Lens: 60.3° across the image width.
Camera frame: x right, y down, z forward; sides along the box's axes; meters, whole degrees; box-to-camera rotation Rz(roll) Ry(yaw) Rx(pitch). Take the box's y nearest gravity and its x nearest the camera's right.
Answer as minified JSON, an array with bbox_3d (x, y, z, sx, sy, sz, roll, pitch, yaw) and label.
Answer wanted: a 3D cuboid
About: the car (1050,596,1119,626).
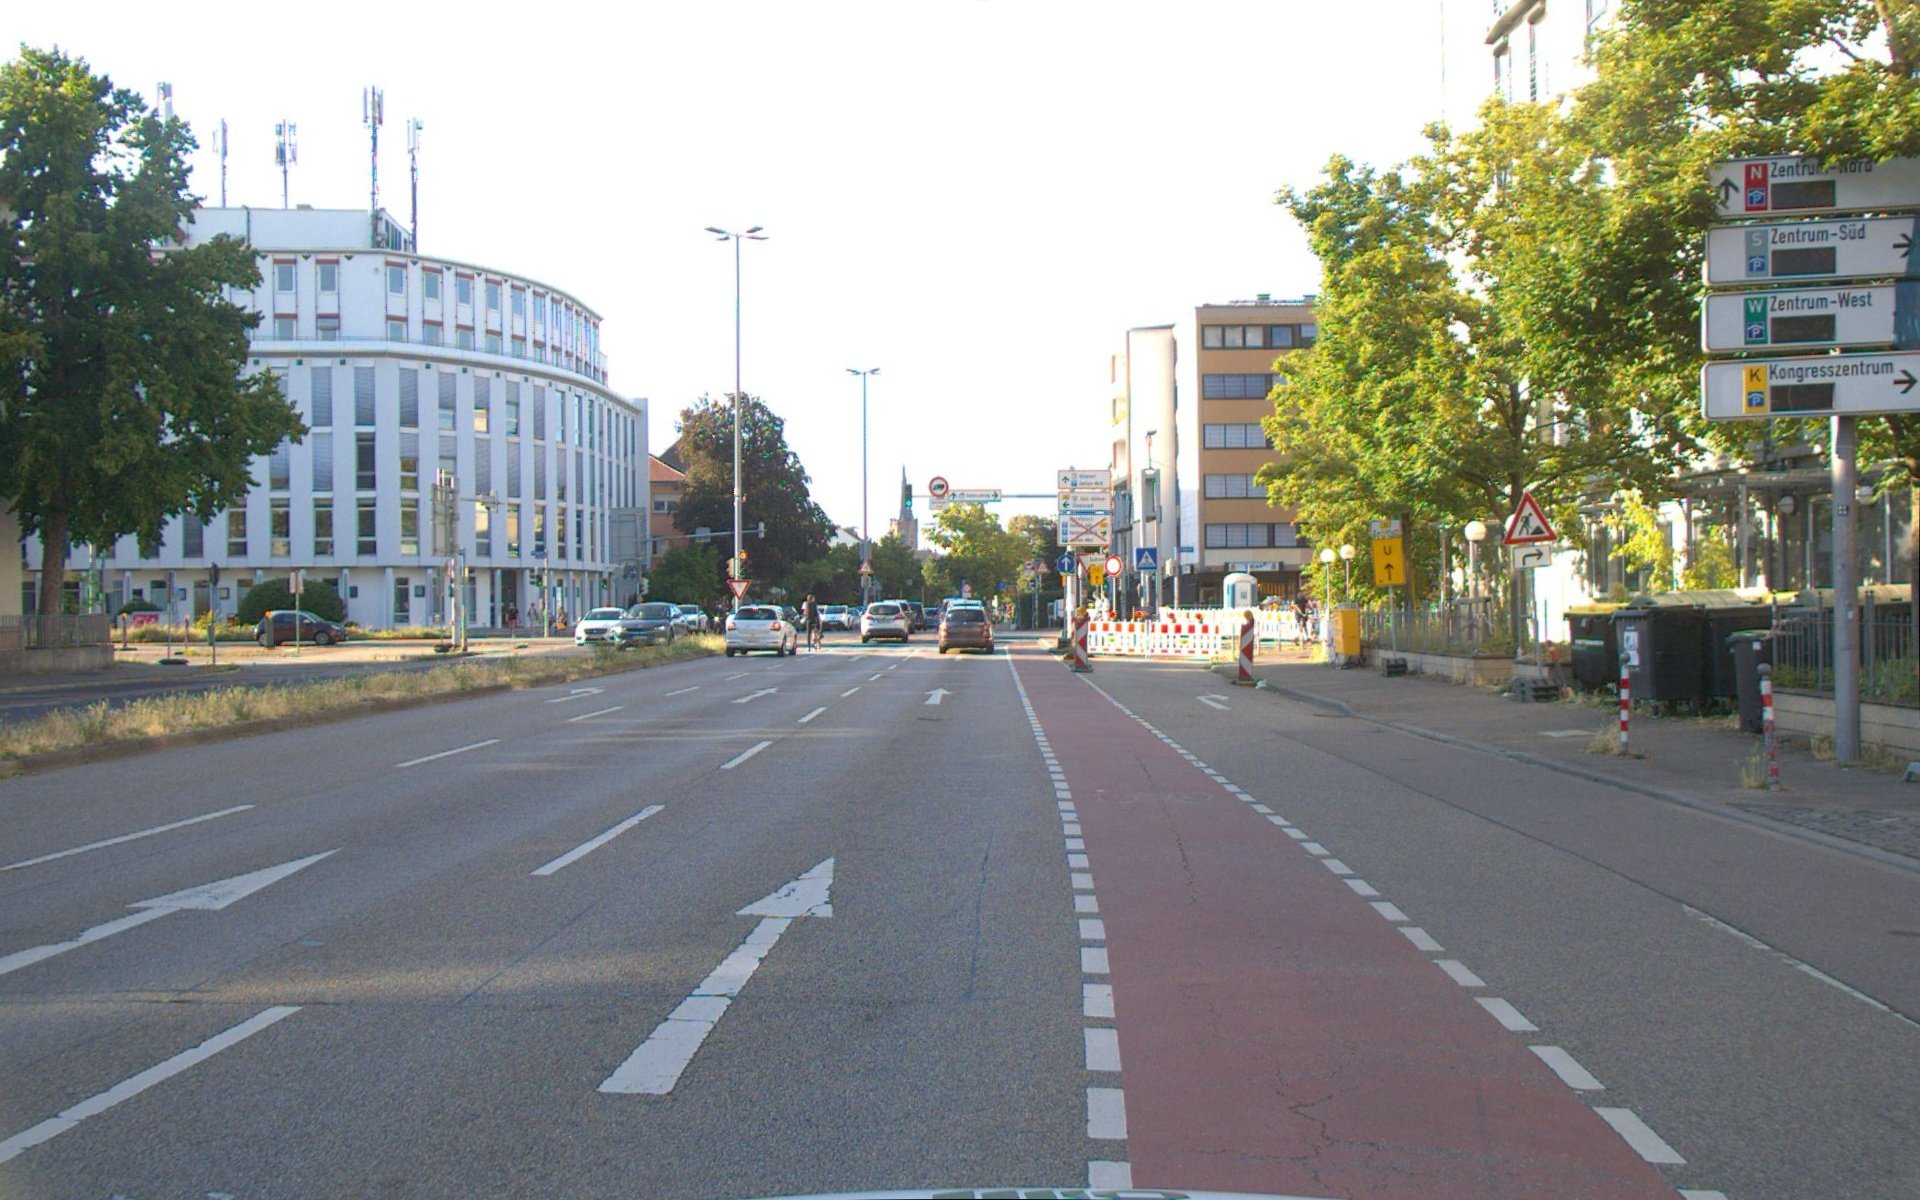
[{"bbox_3d":[8.087,0.714,107.384,4.275,1.910,2.000,-1,0,-1],"label":"car"}]

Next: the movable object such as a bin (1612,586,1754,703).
[{"bbox_3d":[9.749,0.587,22.347,1.302,1.511,1.208,-1,0,-9],"label":"movable object such as a bin"}]

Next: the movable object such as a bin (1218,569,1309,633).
[{"bbox_3d":[11.962,0.032,65.262,3.260,2.425,1.529,-1,-1,0],"label":"movable object such as a bin"}]

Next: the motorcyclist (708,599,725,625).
[{"bbox_3d":[-13.695,0.697,93.007,0.754,1.444,1.238,-1,0,-1],"label":"motorcyclist"}]

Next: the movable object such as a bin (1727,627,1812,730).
[{"bbox_3d":[8.640,0.825,17.662,0.606,1.064,0.616,-1,0,3],"label":"movable object such as a bin"}]

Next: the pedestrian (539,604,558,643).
[{"bbox_3d":[-20.195,1.137,81.105,0.646,1.901,0.779,-1,-1,6],"label":"pedestrian"}]

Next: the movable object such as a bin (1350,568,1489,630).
[{"bbox_3d":[19.867,-0.045,71.645,5.242,2.534,2.547,-1,0,-2],"label":"movable object such as a bin"}]

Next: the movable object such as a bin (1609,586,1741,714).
[{"bbox_3d":[8.908,0.636,20.672,1.070,1.534,1.254,-1,-3,1],"label":"movable object such as a bin"}]

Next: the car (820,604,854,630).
[{"bbox_3d":[-7.372,1.008,99.469,1.810,1.487,4.048,-1,0,-2],"label":"car"}]

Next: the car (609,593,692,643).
[{"bbox_3d":[-10.692,0.610,57.478,1.953,1.606,4.899,-1,0,0],"label":"car"}]

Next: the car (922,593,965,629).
[{"bbox_3d":[-0.800,0.557,79.630,1.953,1.534,3.999,-2,-2,0],"label":"car"}]

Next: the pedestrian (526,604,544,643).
[{"bbox_3d":[-21.013,1.152,81.823,0.744,1.874,0.816,-1,-1,-9],"label":"pedestrian"}]

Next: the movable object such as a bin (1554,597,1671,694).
[{"bbox_3d":[9.535,0.648,24.193,1.193,1.367,1.051,-1,0,-15],"label":"movable object such as a bin"}]

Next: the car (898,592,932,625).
[{"bbox_3d":[-2.453,0.463,90.223,1.630,1.686,4.001,-1,0,1],"label":"car"}]

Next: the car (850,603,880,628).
[{"bbox_3d":[-6.000,0.974,105.023,1.810,1.487,4.048,-1,0,-2],"label":"car"}]

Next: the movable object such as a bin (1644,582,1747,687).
[{"bbox_3d":[10.908,0.499,24.569,1.080,1.511,0.956,-1,0,0],"label":"movable object such as a bin"}]

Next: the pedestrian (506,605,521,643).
[{"bbox_3d":[-22.044,1.176,81.642,0.648,1.891,0.776,-1,-1,-11],"label":"pedestrian"}]

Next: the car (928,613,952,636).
[{"bbox_3d":[-1.461,1.810,122.710,1.630,1.686,4.001,-1,0,1],"label":"car"}]

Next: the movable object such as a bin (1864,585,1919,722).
[{"bbox_3d":[10.733,0.548,17.743,1.575,1.435,0.865,-1,0,-1],"label":"movable object such as a bin"}]

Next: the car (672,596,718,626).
[{"bbox_3d":[-13.625,0.554,85.245,1.651,1.525,4.513,-1,0,-1],"label":"car"}]

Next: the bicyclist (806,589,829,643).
[{"bbox_3d":[-4.674,0.532,54.398,0.677,1.758,0.987,-1,-1,-2],"label":"bicyclist"}]

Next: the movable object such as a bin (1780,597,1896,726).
[{"bbox_3d":[9.362,0.646,17.664,0.761,1.331,0.865,-1,0,-1],"label":"movable object such as a bin"}]

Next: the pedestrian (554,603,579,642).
[{"bbox_3d":[-19.295,1.098,81.123,0.614,1.901,1.127,-1,-1,22],"label":"pedestrian"}]

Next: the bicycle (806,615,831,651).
[{"bbox_3d":[-4.657,1.073,54.504,0.685,1.119,2.257,-1,0,-2],"label":"bicycle"}]

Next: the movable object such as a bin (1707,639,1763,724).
[{"bbox_3d":[8.643,0.903,18.454,0.384,0.923,0.491,-1,0,3],"label":"movable object such as a bin"}]

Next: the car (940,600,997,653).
[{"bbox_3d":[0.308,0.800,52.604,1.712,1.591,4.050,-1,0,1],"label":"car"}]

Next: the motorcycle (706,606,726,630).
[{"bbox_3d":[-13.691,1.020,92.871,0.754,1.307,2.842,-1,0,-1],"label":"motorcycle"}]

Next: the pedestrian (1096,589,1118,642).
[{"bbox_3d":[5.121,0.549,57.584,0.725,1.831,0.716,-1,-1,5],"label":"pedestrian"}]

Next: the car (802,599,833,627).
[{"bbox_3d":[-9.797,0.864,113.786,1.876,1.843,4.715,-1,0,-2],"label":"car"}]

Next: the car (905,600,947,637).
[{"bbox_3d":[-1.536,0.822,74.959,1.712,1.591,4.050,-1,0,1],"label":"car"}]

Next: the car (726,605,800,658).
[{"bbox_3d":[-5.840,0.906,49.425,1.650,1.482,4.000,0,0,1],"label":"car"}]

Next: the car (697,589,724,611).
[{"bbox_3d":[-18.820,0.027,125.045,1.806,1.599,3.994,-1,0,-6],"label":"car"}]

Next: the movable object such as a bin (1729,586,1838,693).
[{"bbox_3d":[12.094,0.571,24.320,1.103,1.511,0.956,-1,0,1],"label":"movable object such as a bin"}]

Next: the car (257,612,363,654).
[{"bbox_3d":[-27.431,1.403,69.871,3.732,1.557,1.862,-2,-2,-3],"label":"car"}]

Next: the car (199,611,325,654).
[{"bbox_3d":[-28.395,1.304,67.351,4.253,1.657,2.001,-1,0,5],"label":"car"}]

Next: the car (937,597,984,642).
[{"bbox_3d":[0.012,0.751,64.600,1.782,1.668,3.999,-1,0,0],"label":"car"}]

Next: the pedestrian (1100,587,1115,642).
[{"bbox_3d":[5.207,0.514,58.443,0.509,1.901,0.615,-1,-1,5],"label":"pedestrian"}]

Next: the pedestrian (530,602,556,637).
[{"bbox_3d":[-24.371,1.148,96.648,1.068,2.049,1.036,-1,-1,11],"label":"pedestrian"}]

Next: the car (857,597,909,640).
[{"bbox_3d":[-2.917,0.691,63.167,1.712,1.591,4.050,-1,0,1],"label":"car"}]

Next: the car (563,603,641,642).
[{"bbox_3d":[-14.090,0.867,65.388,1.952,1.438,4.444,-2,0,2],"label":"car"}]

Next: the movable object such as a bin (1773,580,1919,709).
[{"bbox_3d":[10.792,0.517,20.026,1.281,1.458,1.280,-2,1,5],"label":"movable object such as a bin"}]

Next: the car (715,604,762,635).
[{"bbox_3d":[-10.586,0.917,79.369,1.650,1.417,4.181,-1,0,0],"label":"car"}]

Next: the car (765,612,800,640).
[{"bbox_3d":[-10.424,1.516,97.355,1.624,1.521,3.999,-1,0,-1],"label":"car"}]
